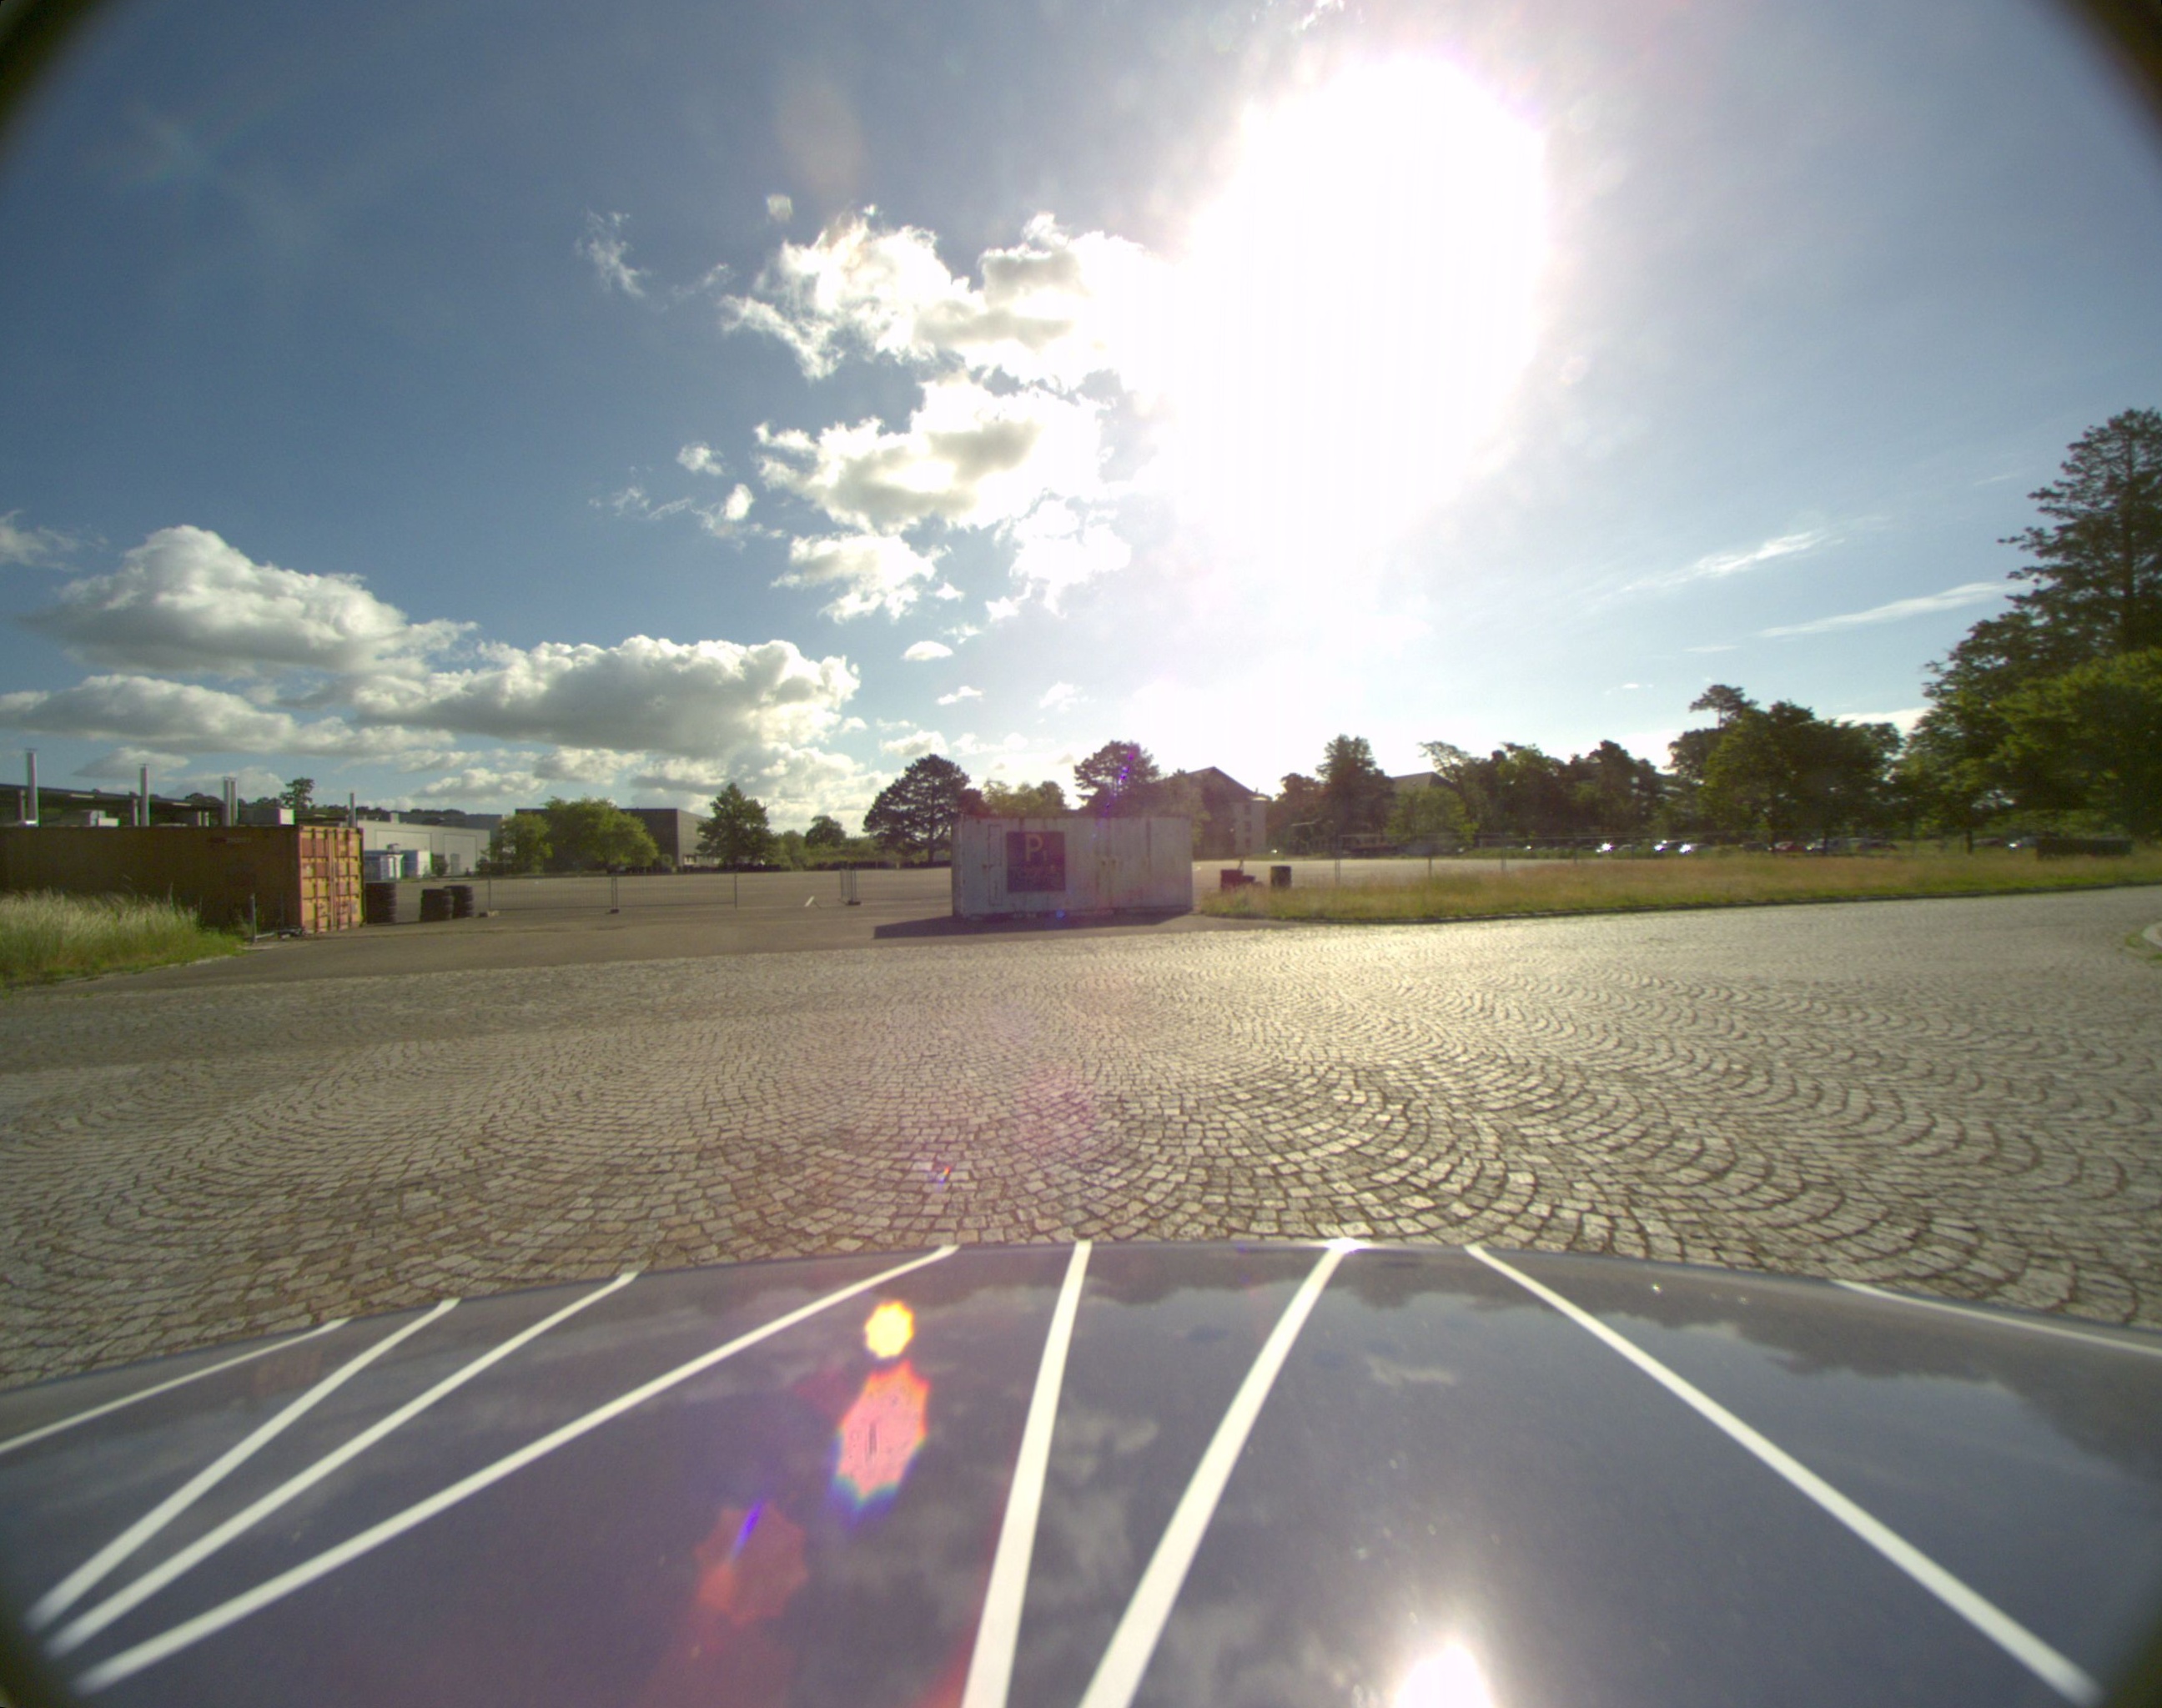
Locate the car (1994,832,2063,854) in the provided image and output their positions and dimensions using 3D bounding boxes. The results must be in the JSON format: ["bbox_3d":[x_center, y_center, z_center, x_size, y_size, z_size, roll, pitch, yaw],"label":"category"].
[{"bbox_3d":[82.515,-0.946,66.192,4.352,1.828,2.244,-1,1,-16],"label":"car"}]

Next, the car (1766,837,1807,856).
[{"bbox_3d":[77.447,-0.820,83.394,3.622,2.002,1.740,-1,1,-18],"label":"car"}]

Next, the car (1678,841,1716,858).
[{"bbox_3d":[74.466,-0.556,91.899,3.854,2.002,1.740,-1,1,-18],"label":"car"}]

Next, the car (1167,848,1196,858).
[{"bbox_3d":[15.777,-0.156,119.141,4.004,1.573,1.996,-1,1,-21],"label":"car"}]

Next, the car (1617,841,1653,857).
[{"bbox_3d":[72.501,-0.654,99.421,3.853,2.002,1.740,-1,1,-16],"label":"car"}]

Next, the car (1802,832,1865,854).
[{"bbox_3d":[79.262,-1.121,80.013,6.038,2.001,1.997,-3,0,-17],"label":"car"}]

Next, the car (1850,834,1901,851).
[{"bbox_3d":[79.692,-1.124,76.190,4.003,1.642,1.997,-1,1,-18],"label":"car"}]

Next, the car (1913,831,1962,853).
[{"bbox_3d":[81.739,-1.178,72.519,3.622,2.002,1.740,-1,1,-18],"label":"car"}]

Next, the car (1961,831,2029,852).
[{"bbox_3d":[82.610,-1.099,68.693,4.351,1.828,2.244,-1,1,-13],"label":"car"}]

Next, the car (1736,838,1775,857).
[{"bbox_3d":[76.320,-0.729,85.979,3.622,2.002,1.740,-1,1,-18],"label":"car"}]
